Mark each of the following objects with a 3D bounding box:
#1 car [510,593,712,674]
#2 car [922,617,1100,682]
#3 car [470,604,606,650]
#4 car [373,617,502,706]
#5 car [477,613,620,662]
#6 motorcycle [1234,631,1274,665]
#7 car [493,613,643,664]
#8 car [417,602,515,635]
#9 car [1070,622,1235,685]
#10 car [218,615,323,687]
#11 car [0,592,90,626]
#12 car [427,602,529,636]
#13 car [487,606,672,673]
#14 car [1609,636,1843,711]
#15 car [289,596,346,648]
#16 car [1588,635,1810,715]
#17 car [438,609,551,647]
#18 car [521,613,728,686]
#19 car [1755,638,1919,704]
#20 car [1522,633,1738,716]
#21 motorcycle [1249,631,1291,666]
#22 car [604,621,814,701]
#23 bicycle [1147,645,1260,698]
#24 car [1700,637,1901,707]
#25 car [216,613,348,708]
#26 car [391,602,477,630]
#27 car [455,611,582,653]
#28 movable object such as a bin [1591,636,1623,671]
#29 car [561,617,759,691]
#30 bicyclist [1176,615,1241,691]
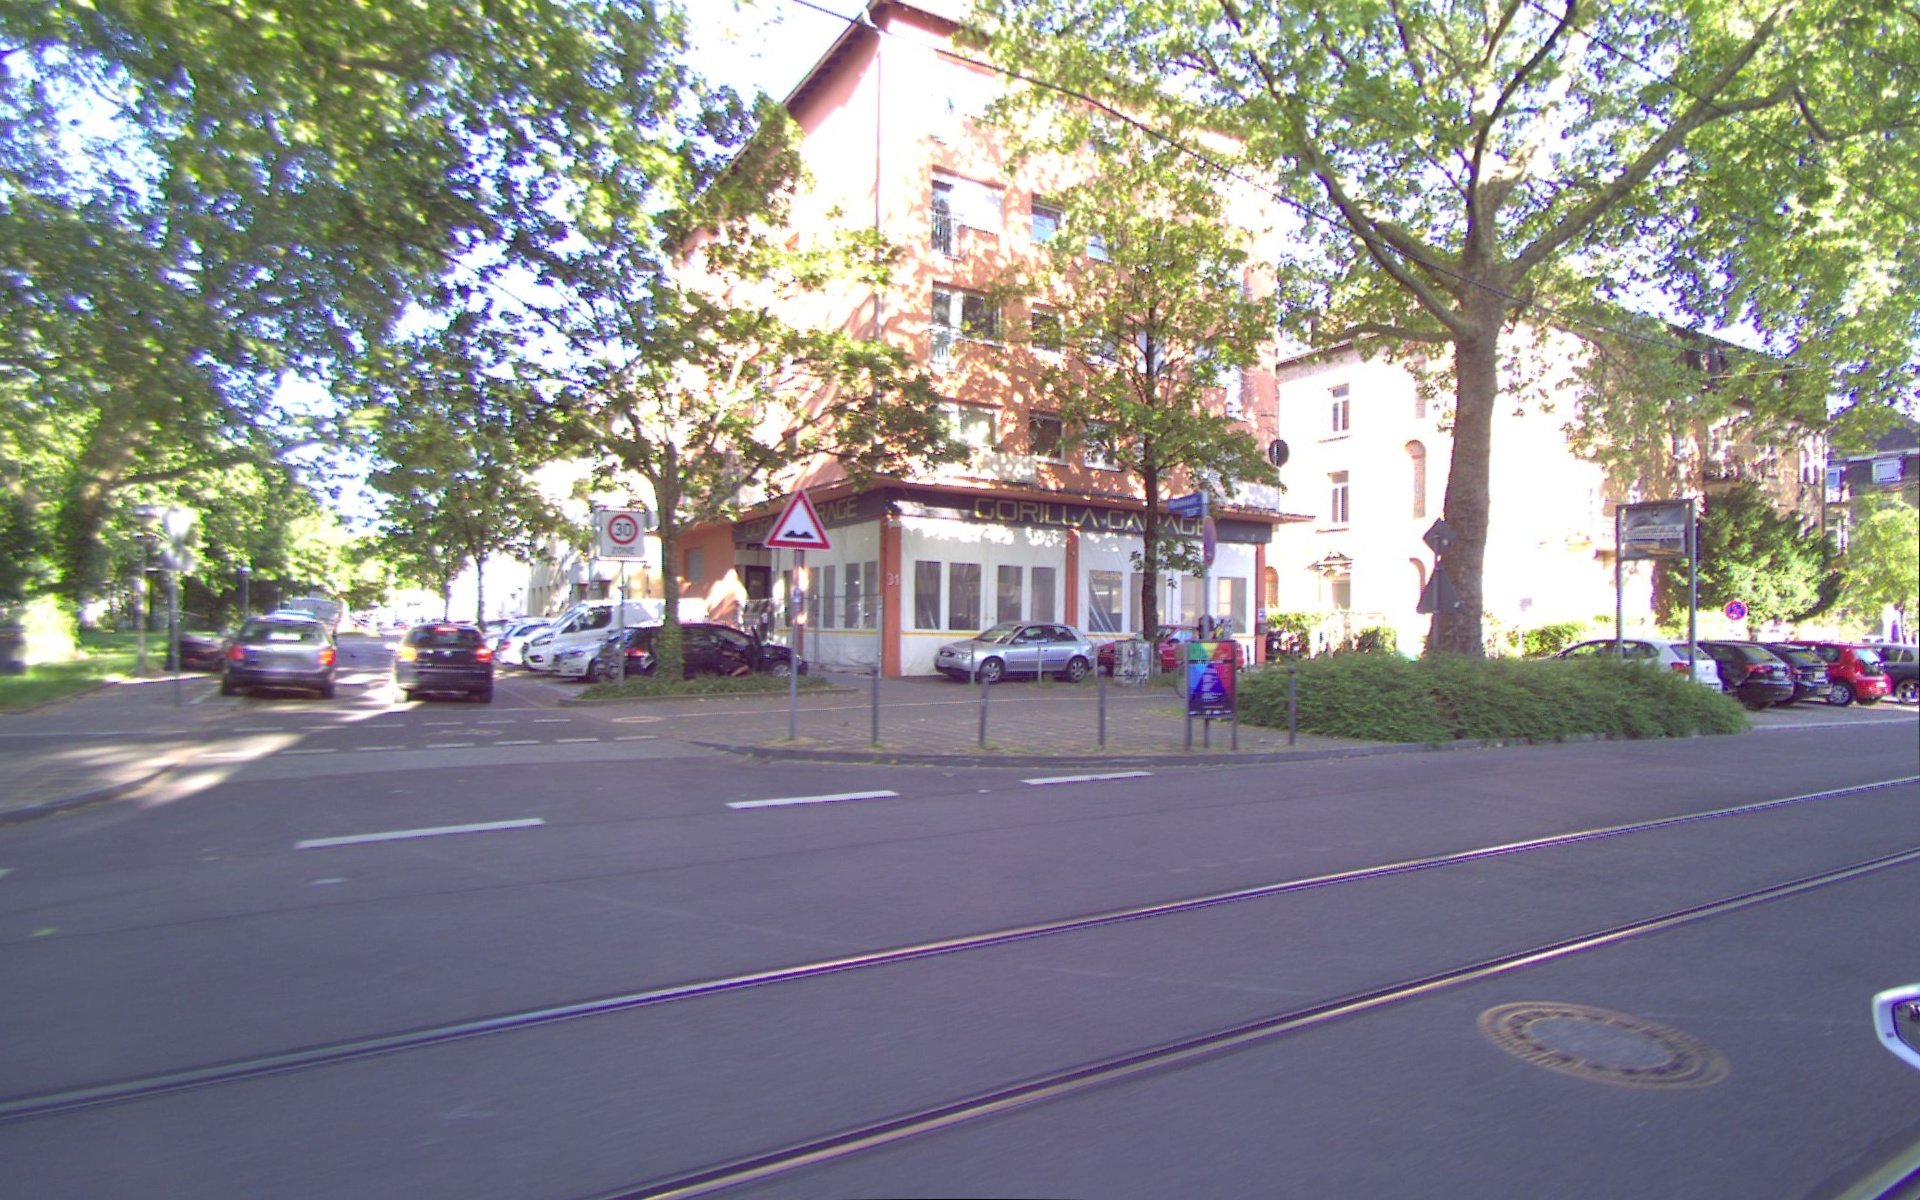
[{"bbox_3d":[-9.473,0.904,27.426,4.869,2.030,1.981,2,-1,-34],"label":"car"},{"bbox_3d":[1.232,1.162,24.055,3.846,1.426,1.939,2,-1,-30],"label":"car"},{"bbox_3d":[-16.029,1.031,38.251,4.443,1.639,1.930,2,-1,-37],"label":"car"},{"bbox_3d":[-10.276,1.144,19.601,1.726,1.468,3.962,4,-2,-34],"label":"car"},{"bbox_3d":[-14.912,1.346,36.509,4.443,1.639,1.930,2,-1,-37],"label":"car"},{"bbox_3d":[11.583,1.872,39.529,1.545,1.306,0.590,2,-1,-31],"label":"motorcycle"},{"bbox_3d":[-13.424,1.308,34.490,4.443,1.639,1.930,2,-1,-37],"label":"car"},{"bbox_3d":[-26.404,0.988,53.734,4.443,1.639,1.930,2,-1,-37],"label":"car"},{"bbox_3d":[5.082,1.390,26.424,3.952,1.507,1.939,2,-1,-30],"label":"car"},{"bbox_3d":[-16.259,1.131,23.595,1.807,1.469,4.435,2,-1,-37],"label":"car"},{"bbox_3d":[-47.016,0.446,50.846,4.050,1.639,1.885,2,-1,-25],"label":"car"},{"bbox_3d":[-24.793,0.999,51.699,4.443,1.639,1.930,2,-1,-37],"label":"car"},{"bbox_3d":[-11.333,1.166,30.062,4.869,1.869,1.981,2,-1,-34],"label":"car"},{"bbox_3d":[18.082,1.677,23.918,1.797,1.484,4.067,2,-1,-27],"label":"car"},{"bbox_3d":[-28.812,0.962,45.084,2.021,2.226,4.703,2,-1,-32],"label":"car"},{"bbox_3d":[16.117,1.582,22.088,1.665,1.484,3.588,2,-1,-27],"label":"car"},{"bbox_3d":[-21.446,1.316,46.357,4.443,1.639,1.930,2,-1,-37],"label":"car"},{"bbox_3d":[-8.324,1.196,25.132,4.519,1.639,1.977,2,-1,-39],"label":"car"},{"bbox_3d":[23.184,1.789,25.783,1.832,1.484,3.968,2,-1,-30],"label":"car"},{"bbox_3d":[14.019,1.504,21.197,1.675,1.484,3.407,2,-1,-27],"label":"car"},{"bbox_3d":[11.999,1.864,38.862,1.609,1.321,0.639,2,-1,-31],"label":"motorcycle"},{"bbox_3d":[-5.296,1.254,21.468,3.968,1.513,1.797,2,-1,-40],"label":"car"},{"bbox_3d":[5.095,1.458,20.926,2.562,1.012,0.960,2,-1,-40],"label":"bicycle"},{"bbox_3d":[20.564,1.705,24.710,1.737,1.484,3.407,2,-1,-27],"label":"car"},{"bbox_3d":[-12.870,1.055,19.076,1.842,1.508,4.497,2,-1,-35],"label":"car"},{"bbox_3d":[-32.408,1.014,61.981,4.443,1.639,1.930,2,-1,-37],"label":"car"},{"bbox_3d":[-18.069,1.317,41.182,4.443,1.639,1.930,2,-1,-37],"label":"car"},{"bbox_3d":[21.616,1.777,33.554,0.536,1.124,0.721,2,-1,-28],"label":"movable object such as a bin"},{"bbox_3d":[-6.952,1.226,23.450,3.968,1.546,1.977,2,-1,-40],"label":"car"},{"bbox_3d":[5.206,1.093,21.026,1.108,1.527,0.793,2,-1,-40],"label":"bicyclist"}]
